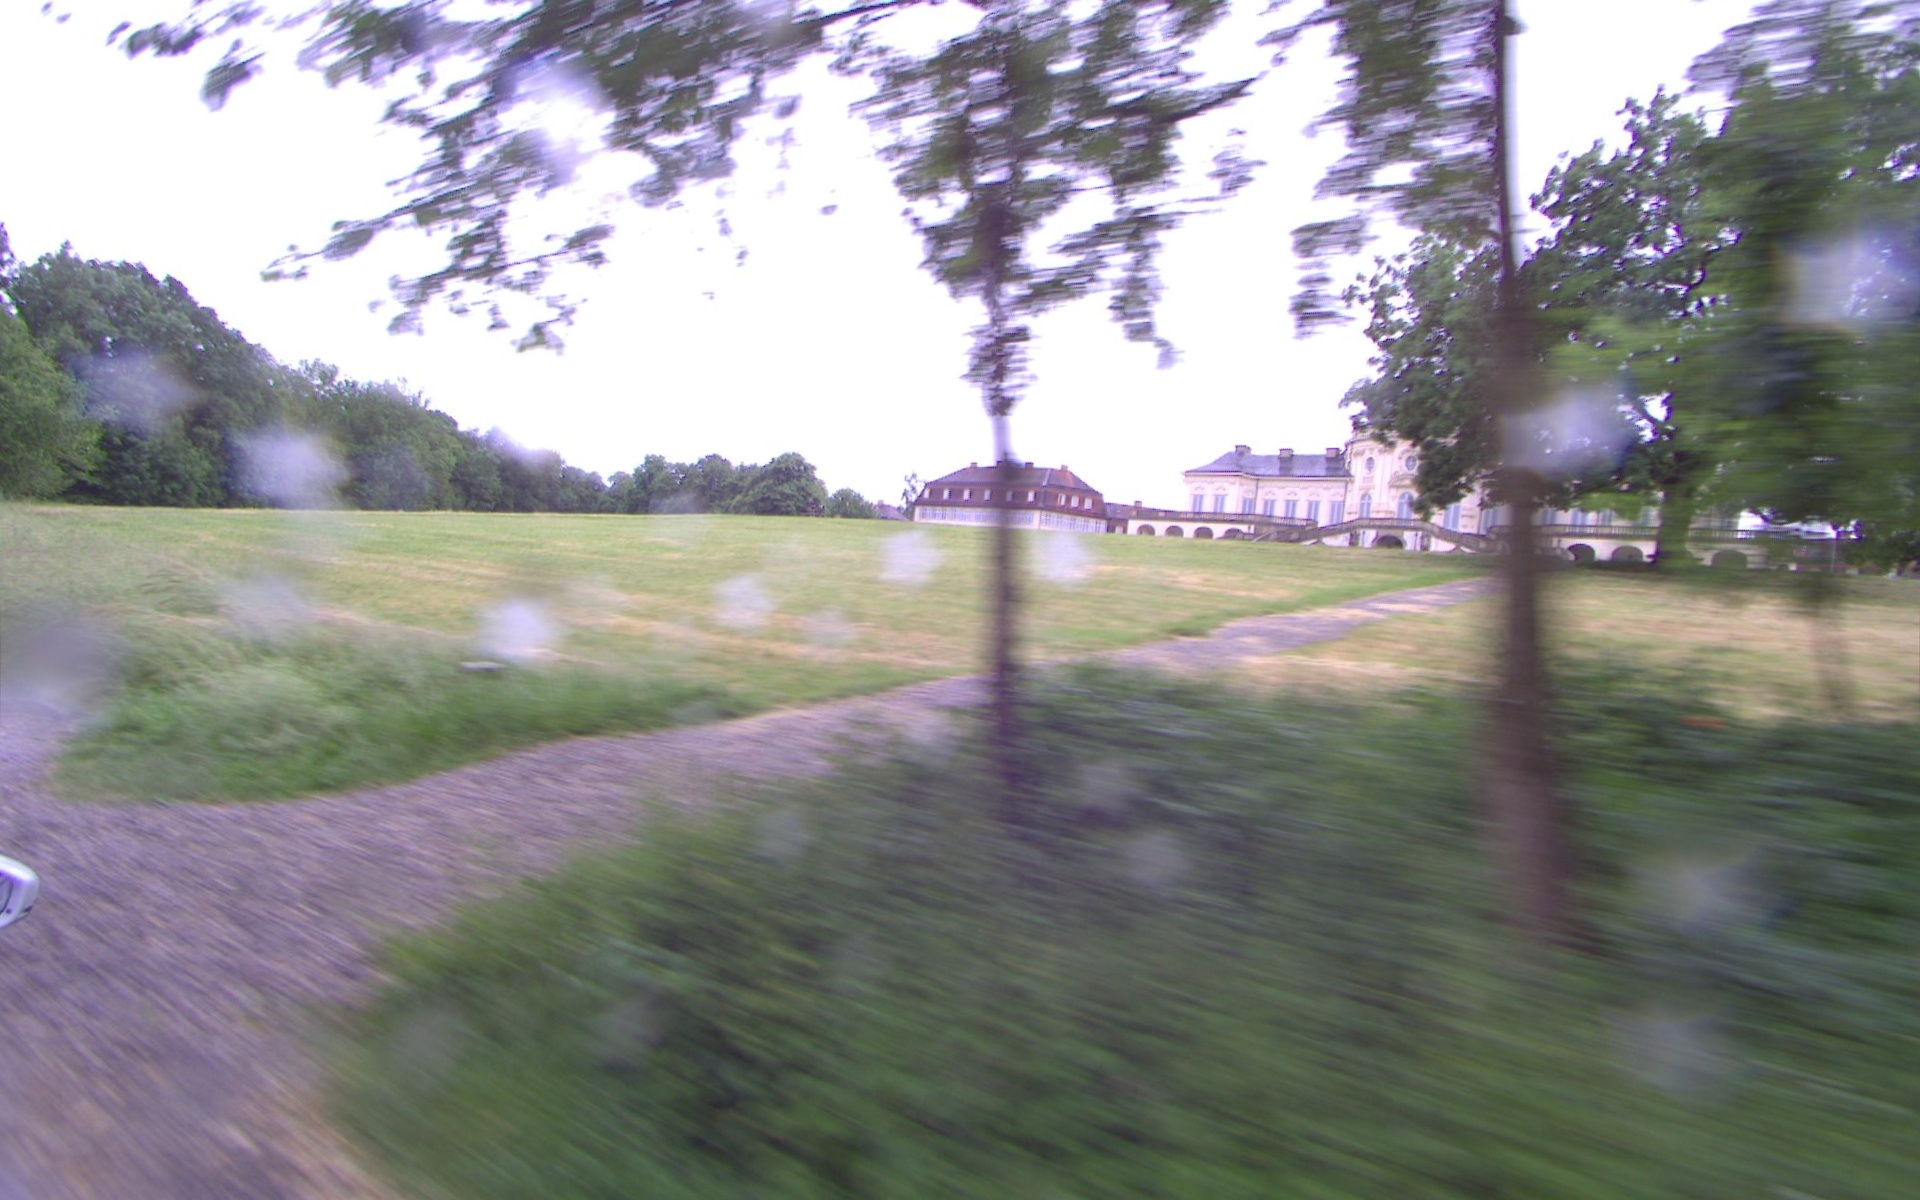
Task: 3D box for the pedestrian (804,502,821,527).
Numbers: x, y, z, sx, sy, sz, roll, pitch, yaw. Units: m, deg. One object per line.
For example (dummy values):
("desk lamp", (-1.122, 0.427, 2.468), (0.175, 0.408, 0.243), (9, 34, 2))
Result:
("pedestrian", (-11.435, -6.606, 77.884), (0.919, 1.758, 0.796), (6, 2, -33))
